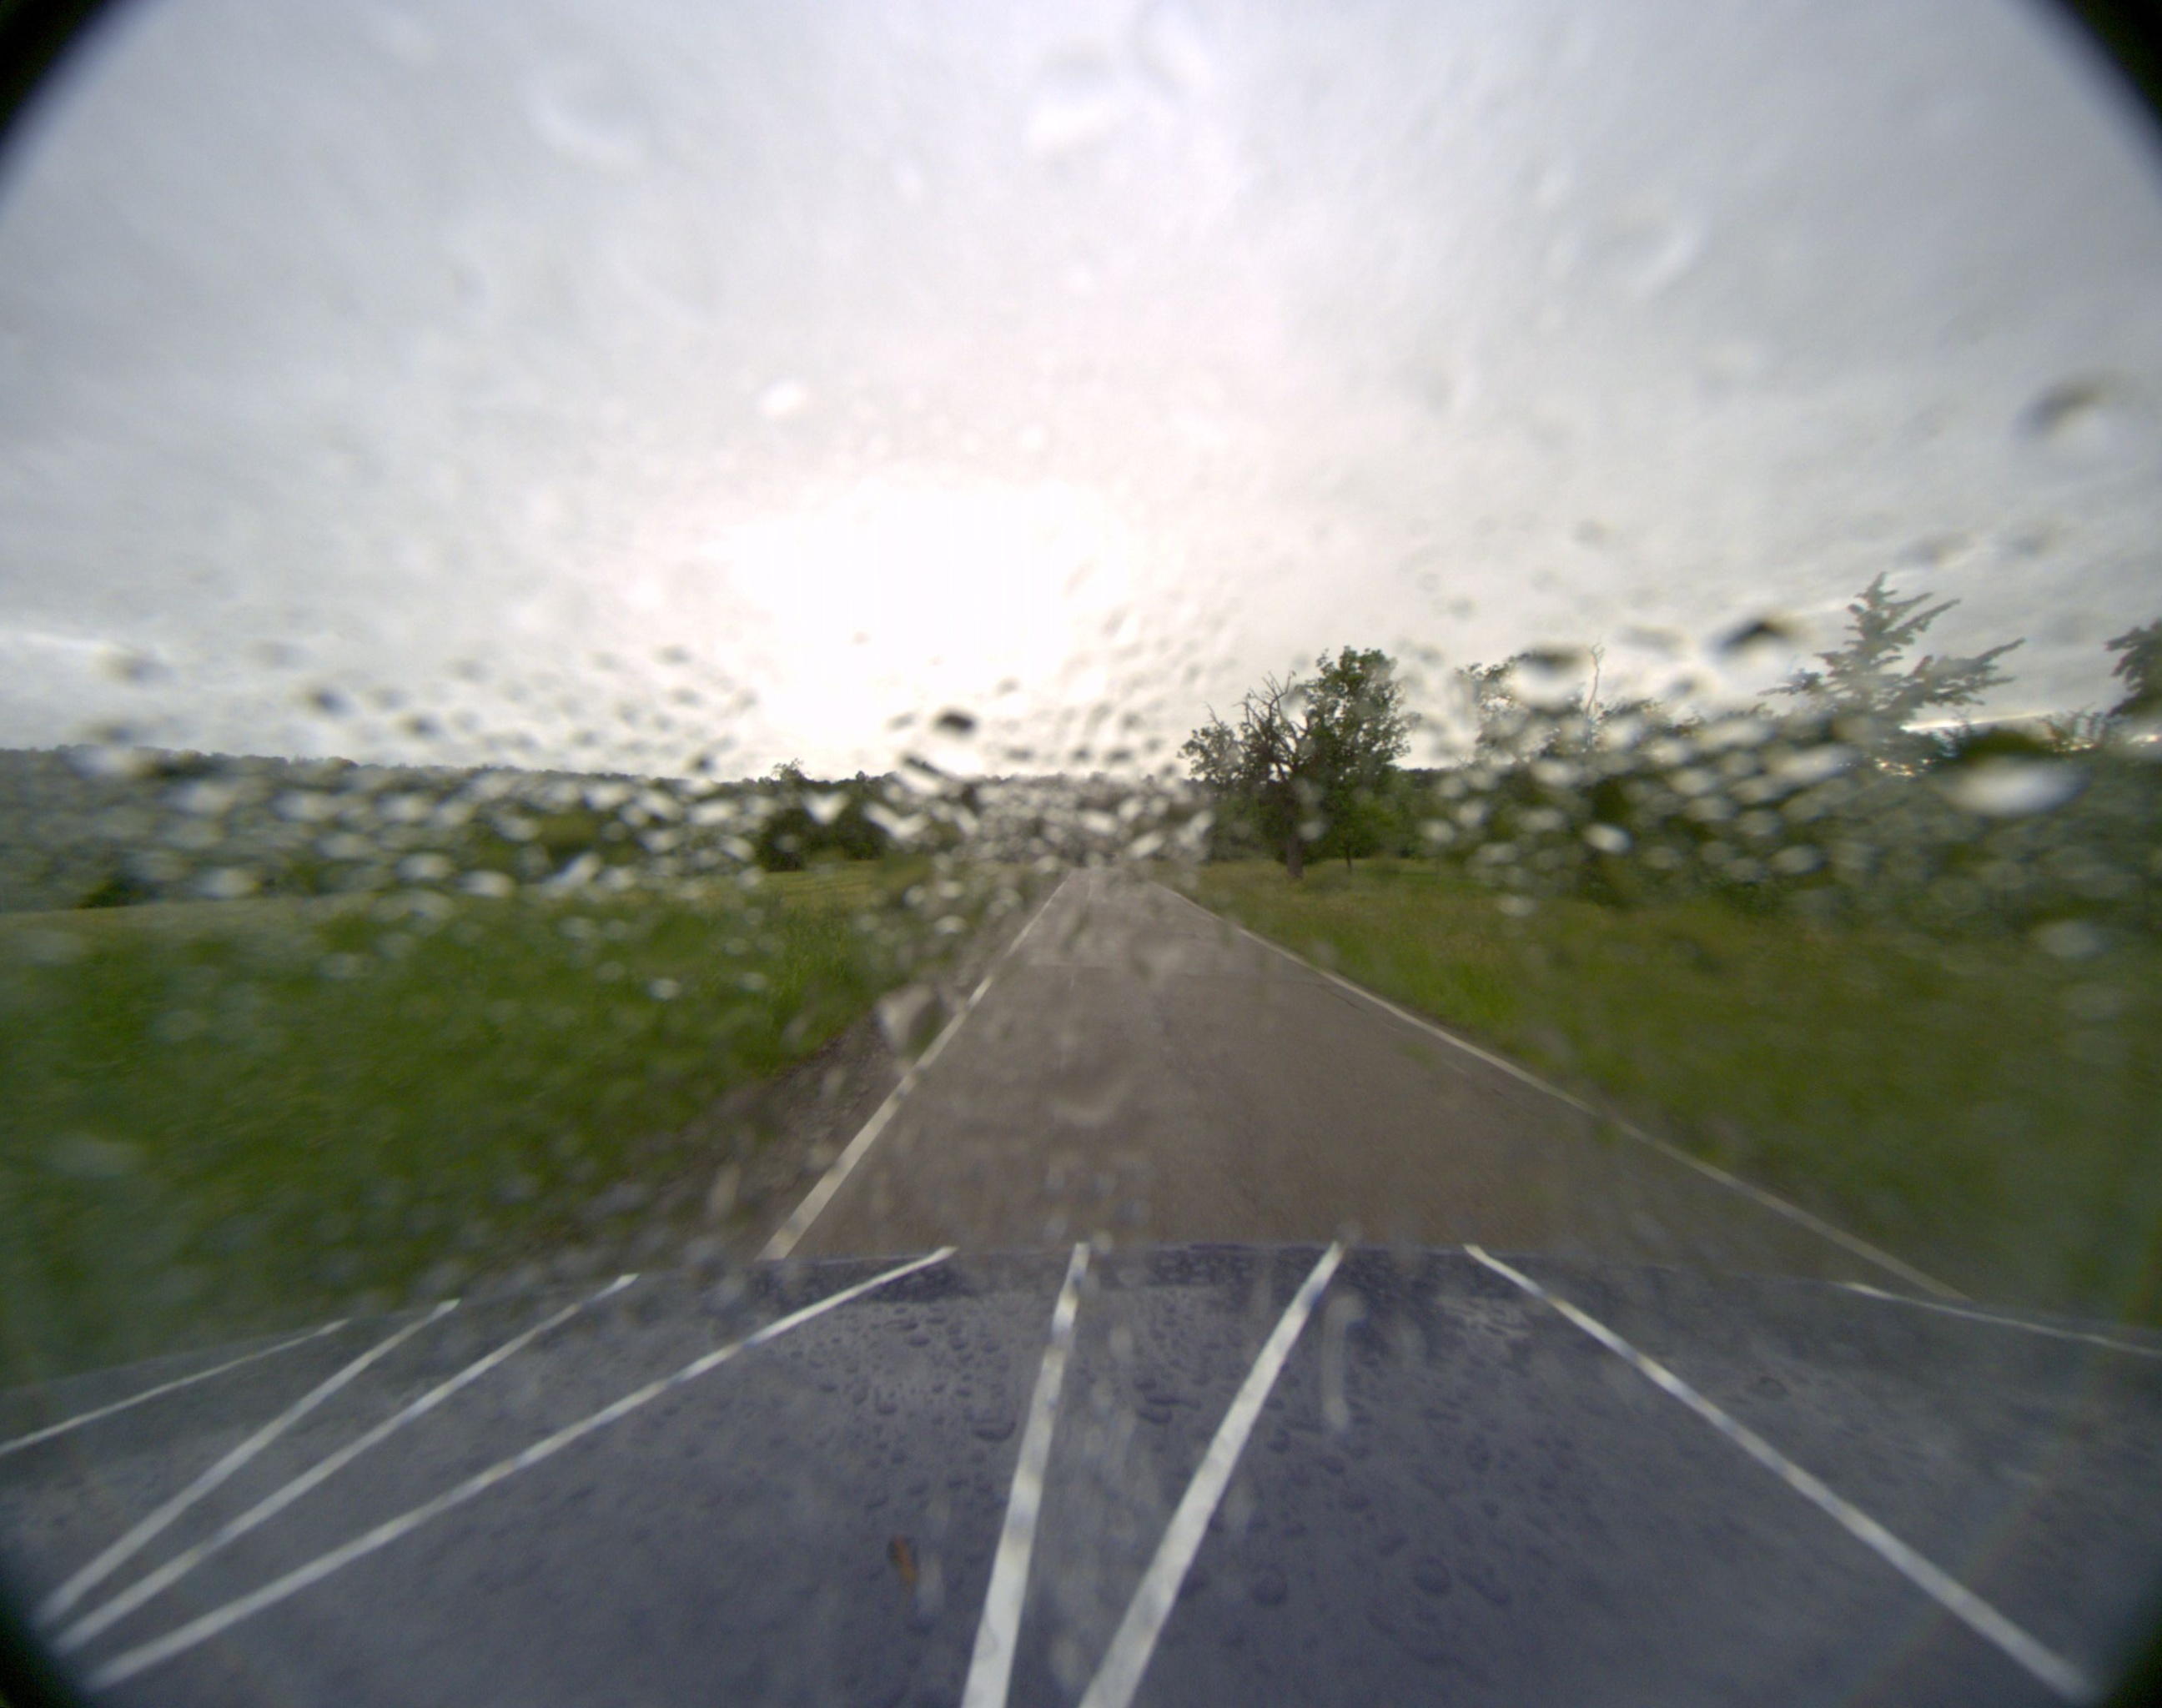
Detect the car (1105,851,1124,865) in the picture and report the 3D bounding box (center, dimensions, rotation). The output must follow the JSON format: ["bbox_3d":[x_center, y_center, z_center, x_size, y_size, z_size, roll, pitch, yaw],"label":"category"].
[{"bbox_3d":[3.828,0.444,87.409,1.744,1.463,4.121,-1,1,-3],"label":"car"}]
